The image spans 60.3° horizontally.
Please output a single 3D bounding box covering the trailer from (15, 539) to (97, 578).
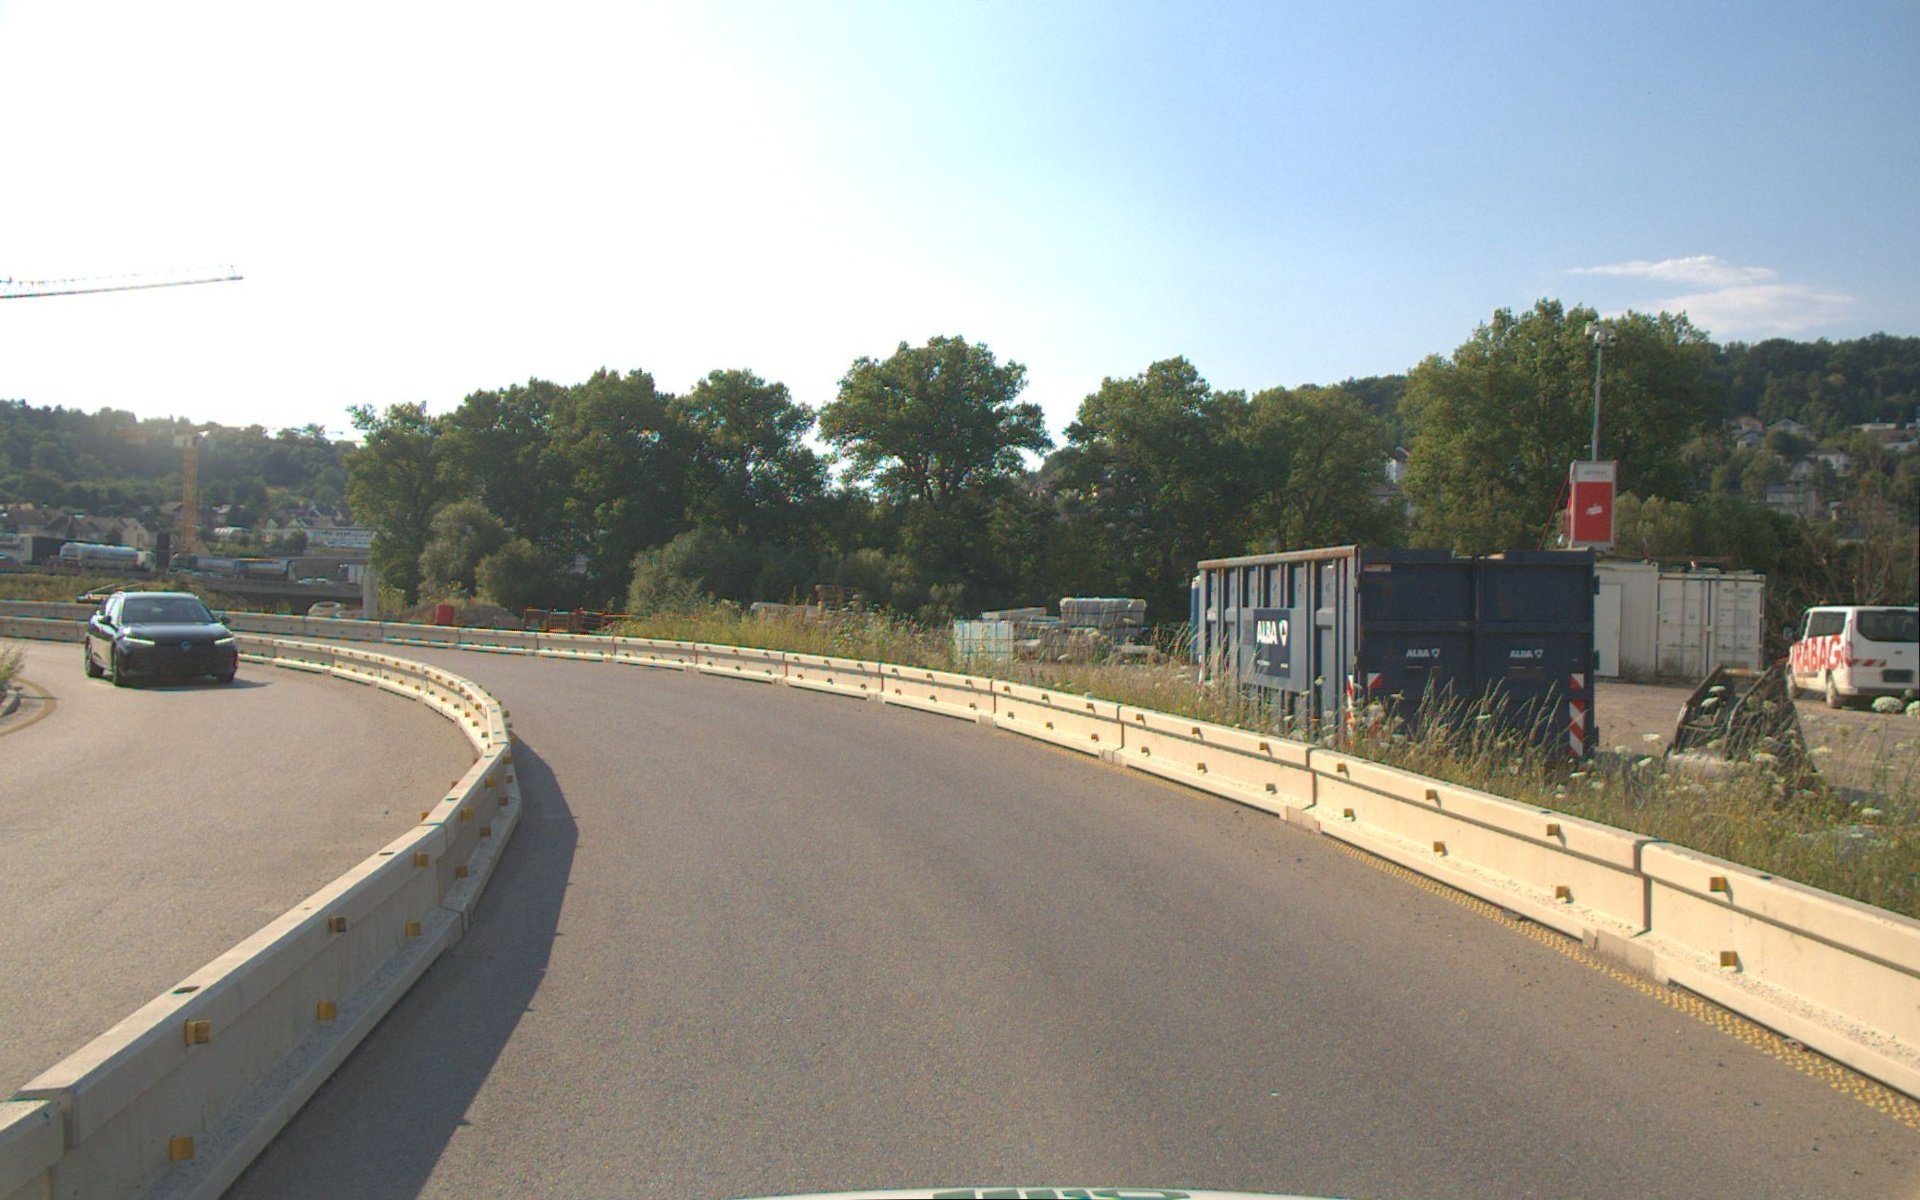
[{"bbox_3d":[-96.359,-4.363,176.532,2.944,3.817,9.574,1,0,3],"label":"trailer"}]

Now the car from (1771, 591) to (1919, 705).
[{"bbox_3d":[18.527,0.941,33.801,2.426,2.115,5.324,1,0,14],"label":"car"}]

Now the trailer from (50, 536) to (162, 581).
[{"bbox_3d":[-88.298,-4.189,171.565,3.314,4.066,14.749,2,0,2],"label":"trailer"}]

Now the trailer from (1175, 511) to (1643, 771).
[{"bbox_3d":[4.898,0.424,19.813,2.946,2.456,7.219,2,0,-6],"label":"trailer"}]

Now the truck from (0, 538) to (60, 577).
[{"bbox_3d":[-96.627,-4.411,171.762,2.934,3.792,5.690,1,0,3],"label":"truck"}]

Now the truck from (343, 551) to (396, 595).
[{"bbox_3d":[-84.960,-3.830,238.121,3.098,5.973,10.679,1,0,3],"label":"truck"}]

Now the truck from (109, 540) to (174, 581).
[{"bbox_3d":[-88.041,-4.204,178.043,3.320,4.066,6.626,2,0,2],"label":"truck"}]

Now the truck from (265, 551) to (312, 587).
[{"bbox_3d":[-86.252,-3.965,212.532,3.034,4.360,6.626,2,0,2],"label":"truck"}]

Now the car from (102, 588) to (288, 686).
[{"bbox_3d":[-13.154,0.596,28.289,1.701,1.545,4.446,0,0,-42],"label":"car"}]

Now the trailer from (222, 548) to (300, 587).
[{"bbox_3d":[-86.547,-3.982,205.227,3.039,4.389,14.255,2,0,2],"label":"trailer"}]
